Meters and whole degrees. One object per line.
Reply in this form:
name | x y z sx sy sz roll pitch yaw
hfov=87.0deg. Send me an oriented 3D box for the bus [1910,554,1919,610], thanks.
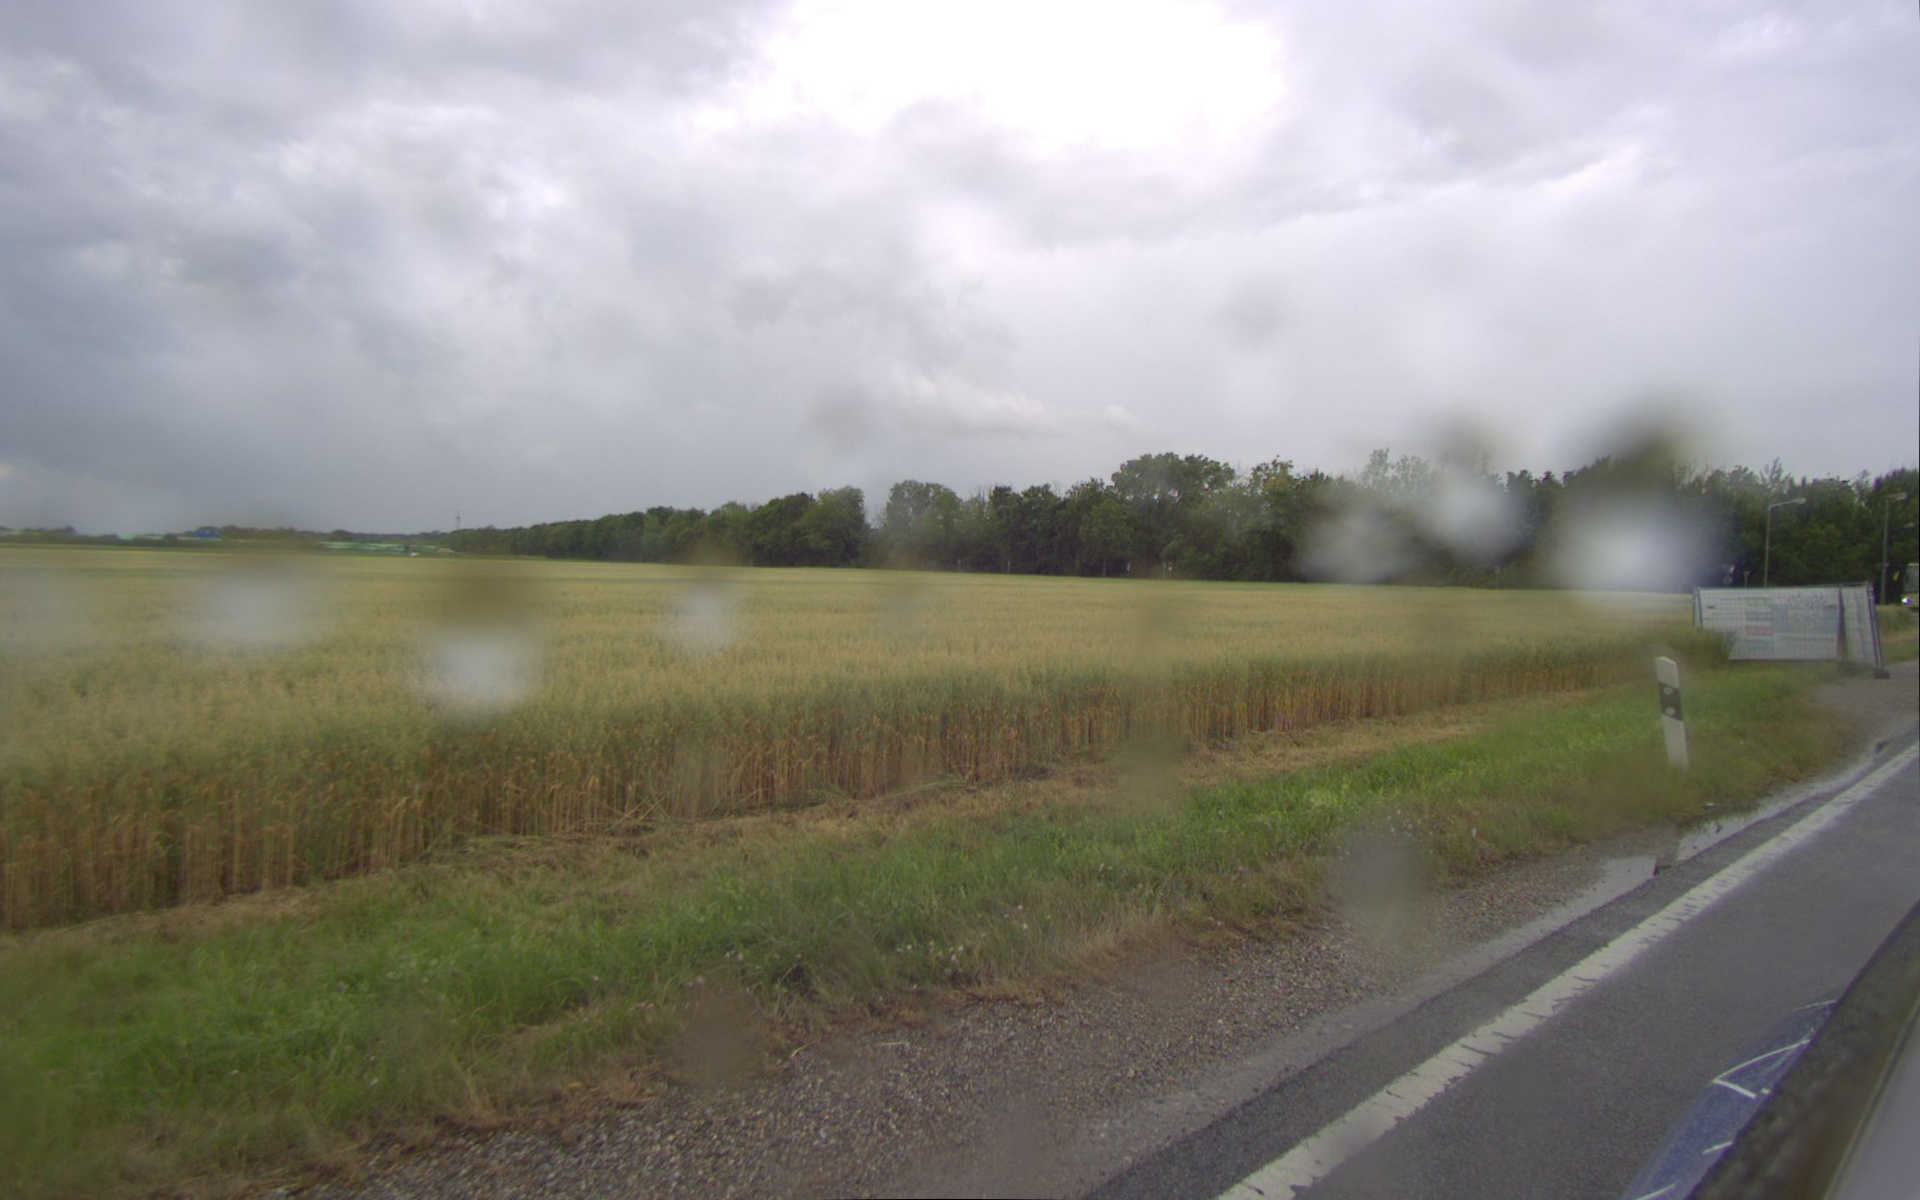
bus | 71.509 -1.046 68.965 13.992 3.731 3.006 1 2 -16
